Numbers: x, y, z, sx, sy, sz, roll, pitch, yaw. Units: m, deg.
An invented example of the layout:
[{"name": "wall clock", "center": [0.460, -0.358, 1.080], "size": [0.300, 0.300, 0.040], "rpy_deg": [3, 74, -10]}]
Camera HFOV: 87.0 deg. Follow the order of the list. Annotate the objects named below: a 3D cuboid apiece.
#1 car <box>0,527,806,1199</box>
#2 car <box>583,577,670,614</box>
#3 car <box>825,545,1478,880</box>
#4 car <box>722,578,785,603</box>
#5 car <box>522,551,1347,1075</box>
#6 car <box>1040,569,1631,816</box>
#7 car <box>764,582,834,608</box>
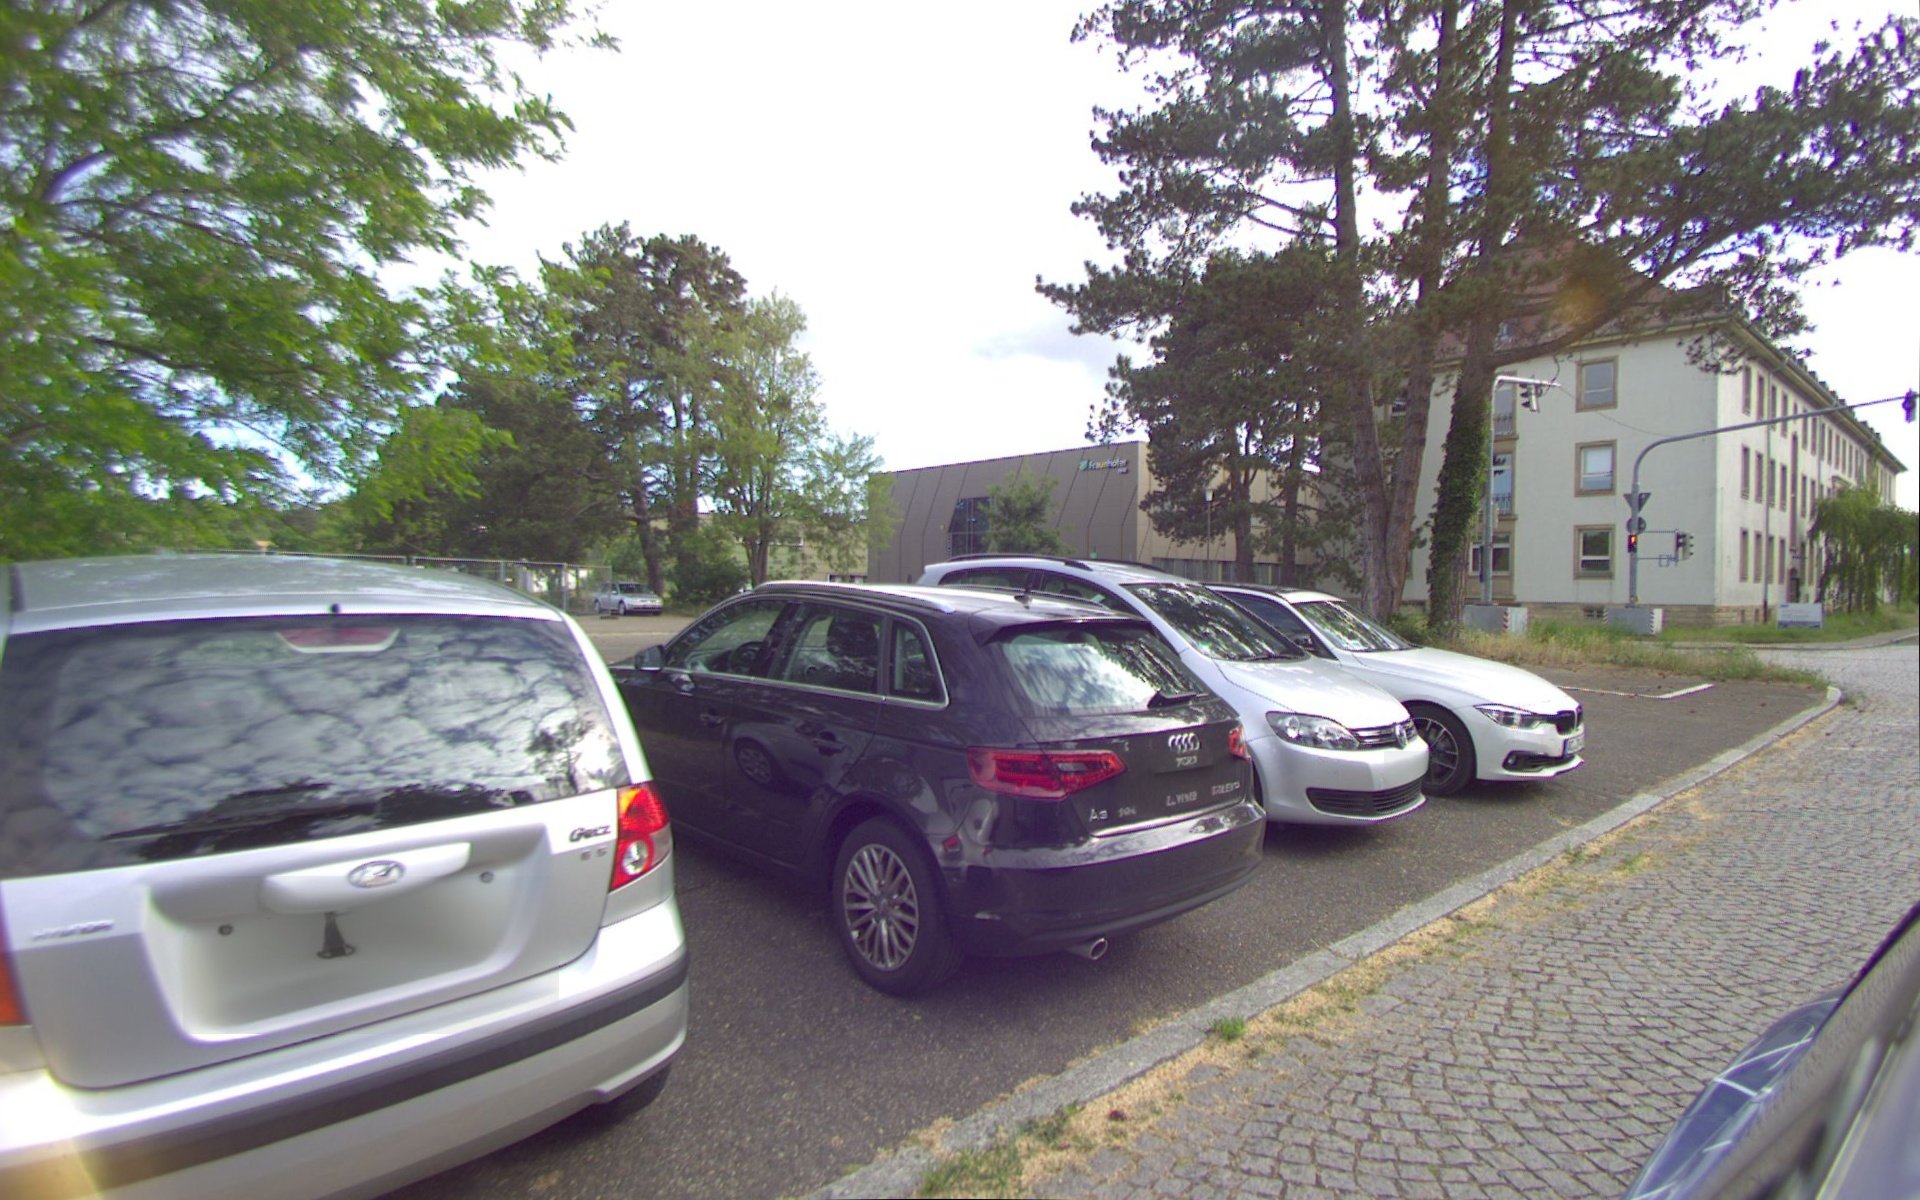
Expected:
[{"name": "car", "center": [-2.325, 0.581, 3.217], "size": [1.714, 1.498, 3.776], "rpy_deg": [1, 3, -44]}, {"name": "car", "center": [-14.402, -0.216, 43.628], "size": [4.138, 1.493, 1.835], "rpy_deg": [2, 1, 44]}, {"name": "car", "center": [1.106, 0.485, 7.327], "size": [4.331, 1.593, 1.799], "rpy_deg": [5, 4, 43]}, {"name": "car", "center": [-14.875, -0.695, 73.051], "size": [4.129, 1.606, 1.834], "rpy_deg": [-4, 4, -45]}, {"name": "car", "center": [-0.545, 0.569, 5.214], "size": [1.766, 1.423, 4.373], "rpy_deg": [1, 3, -43]}, {"name": "car", "center": [3.035, 0.554, 8.979], "size": [1.797, 1.442, 4.555], "rpy_deg": [-1, 4, -44]}, {"name": "car", "center": [-10.597, -0.348, 66.914], "size": [4.347, 1.481, 1.834], "rpy_deg": [-4, 4, -45]}]
